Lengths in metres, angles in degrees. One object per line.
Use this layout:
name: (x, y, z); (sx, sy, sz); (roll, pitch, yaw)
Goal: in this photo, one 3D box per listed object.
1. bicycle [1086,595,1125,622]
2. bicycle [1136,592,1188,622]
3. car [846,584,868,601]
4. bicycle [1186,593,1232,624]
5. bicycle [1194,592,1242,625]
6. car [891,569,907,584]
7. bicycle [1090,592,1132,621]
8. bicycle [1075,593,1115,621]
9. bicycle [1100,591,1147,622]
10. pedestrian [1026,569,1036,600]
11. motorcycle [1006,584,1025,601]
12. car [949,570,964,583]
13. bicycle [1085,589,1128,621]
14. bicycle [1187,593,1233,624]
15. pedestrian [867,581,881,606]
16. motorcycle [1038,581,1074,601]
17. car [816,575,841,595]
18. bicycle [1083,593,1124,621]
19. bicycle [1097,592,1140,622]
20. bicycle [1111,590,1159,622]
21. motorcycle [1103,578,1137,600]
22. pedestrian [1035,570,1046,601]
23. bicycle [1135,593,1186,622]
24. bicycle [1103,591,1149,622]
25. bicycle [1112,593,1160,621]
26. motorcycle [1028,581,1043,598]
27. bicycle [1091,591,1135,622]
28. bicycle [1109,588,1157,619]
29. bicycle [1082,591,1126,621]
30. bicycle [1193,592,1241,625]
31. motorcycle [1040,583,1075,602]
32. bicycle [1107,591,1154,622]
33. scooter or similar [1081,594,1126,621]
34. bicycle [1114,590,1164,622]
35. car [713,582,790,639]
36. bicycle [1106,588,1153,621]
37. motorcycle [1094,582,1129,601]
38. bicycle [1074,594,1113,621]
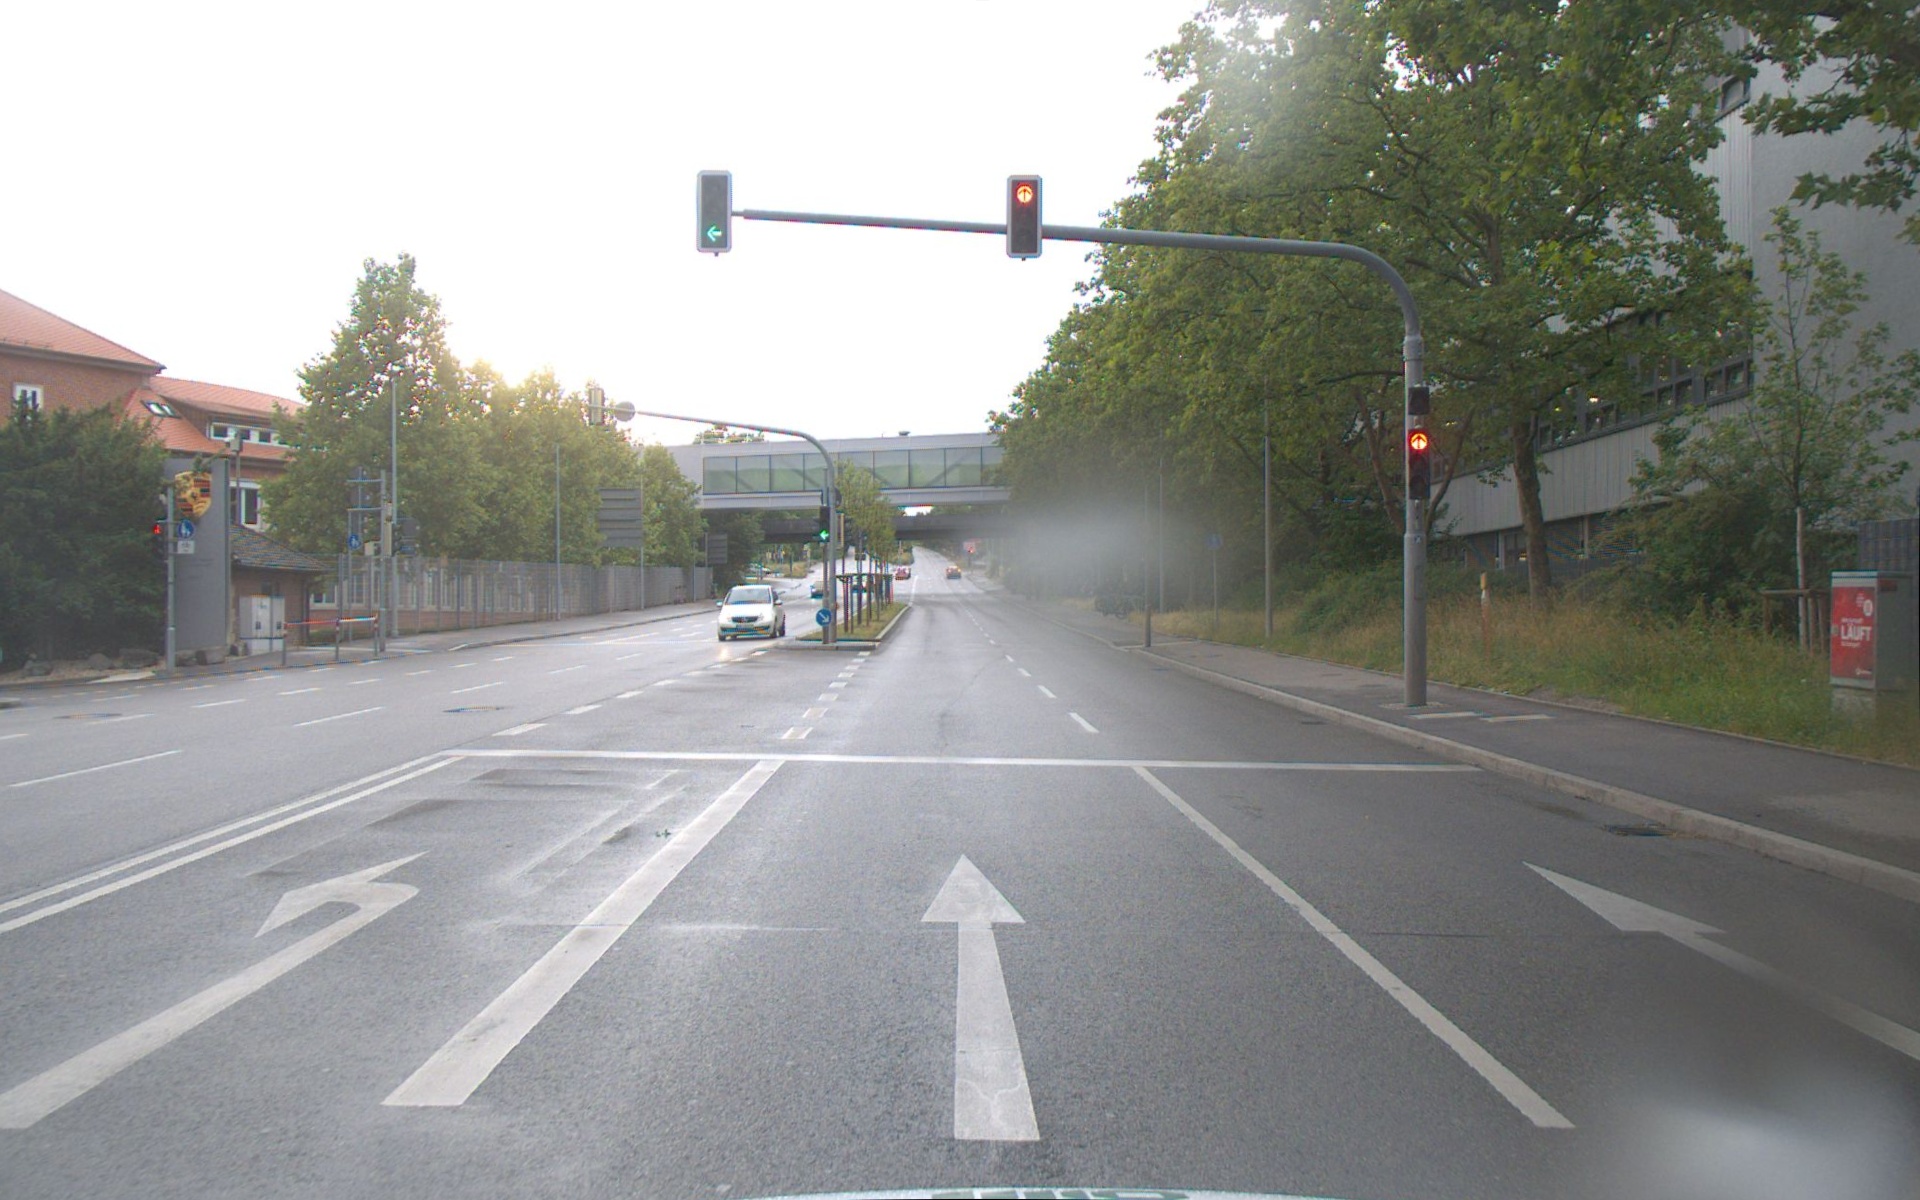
bicycle: (7.617, 0.426, 86.642); (1.922, 1.352, 0.654); (2, -1, 0)
bicycle: (7.933, 0.290, 64.913); (1.949, 1.114, 0.541); (2, -1, 0)
car: (-9.965, -0.744, 160.214); (1.839, 1.653, 3.778); (-1, 0, 0)
bicycle: (11.175, 0.392, 74.307); (1.949, 1.352, 0.576); (2, -1, 0)
bicycle: (11.049, 0.348, 70.925); (1.949, 1.352, 0.576); (2, -1, 0)
car: (-7.985, -3.061, 217.704); (1.953, 1.792, 3.999); (2, -1, 0)
bicycle: (7.245, 0.327, 79.463); (1.949, 1.352, 0.576); (2, -1, 0)
bicycle: (6.833, 0.367, 83.700); (1.922, 1.352, 0.654); (2, -1, 0)
bicycle: (7.197, 0.290, 72.843); (1.949, 1.263, 0.541); (2, -1, 0)
pedestrian: (4.711, -1.009, 110.237); (0.609, 2.049, 0.605); (-1, 0, 0)
motorcycle: (4.585, -0.614, 136.458); (0.778, 1.334, 2.364); (-2, 0, -18)
car: (-0.414, -3.026, 213.955); (1.837, 1.523, 4.067); (2, -1, 0)
bicycle: (6.956, 0.257, 78.608); (1.949, 1.455, 0.723); (2, -1, 0)
bicycle: (11.127, 0.383, 73.629); (1.949, 1.352, 0.576); (2, -1, 0)
pedestrian: (-7.106, -0.518, 136.543); (0.834, 2.039, 0.875); (-1, 0, 18)
motorcycle: (6.319, -0.581, 108.833); (2.318, 1.223, 0.723); (-2, 0, 7)
car: (-11.406, -1.317, 143.526); (1.839, 1.653, 3.778); (-1, 0, 0)
bicycle: (7.049, 0.345, 81.410); (1.920, 1.352, 0.576); (2, -1, 0)
bicycle: (7.457, 0.327, 77.874); (1.949, 1.352, 0.576); (2, -1, 0)
bicycle: (7.305, 0.252, 69.126); (1.949, 1.255, 0.541); (2, -1, 0)
motorcycle: (11.431, -0.812, 118.131); (2.318, 1.502, 0.723); (-2, 0, 7)
pedestrian: (5.333, -0.961, 109.854); (0.609, 2.049, 0.605); (-1, 0, 0)
bicycle: (7.931, 0.297, 65.482); (1.949, 1.114, 0.541); (2, -1, 0)
bicycle: (7.207, 0.279, 71.895); (1.949, 1.263, 0.541); (2, -1, 0)
bicycle: (7.291, 0.305, 68.544); (1.949, 1.114, 0.541); (2, -1, 0)
motorcycle: (5.991, -0.854, 131.459); (0.775, 1.334, 2.372); (-1, 0, -9)
bicycle: (7.022, 0.293, 76.122); (1.949, 1.352, 0.576); (2, -1, 0)
bicycle: (7.300, 0.163, 69.905); (1.949, 1.263, 0.541); (2, -1, 0)
bicycle: (6.700, 0.293, 76.929); (1.949, 1.352, 0.576); (2, -1, 0)
bicycle: (11.227, 0.369, 72.254); (1.949, 1.352, 0.576); (2, -1, 0)
motorcycle: (6.647, -0.518, 112.593); (2.318, 1.223, 0.723); (-2, 0, 7)
bicycle: (7.280, 0.265, 70.594); (1.949, 1.263, 0.541); (2, -1, 0)
scooter or similar: (6.495, 0.333, 75.004); (1.949, 1.157, 0.541); (2, -1, 0)
bicycle: (7.254, 0.233, 66.937); (1.949, 1.237, 0.541); (2, -1, 0)
car: (-6.320, 0.296, 50.449); (1.839, 1.653, 3.778); (-1, 0, 0)
bicycle: (7.306, 0.206, 71.204); (1.949, 1.364, 0.541); (2, -1, 0)
motorcycle: (10.269, -0.603, 112.299); (2.318, 1.223, 0.723); (-2, 0, 7)
bicycle: (6.915, 0.394, 85.775); (1.922, 1.352, 0.654); (2, -1, 0)
